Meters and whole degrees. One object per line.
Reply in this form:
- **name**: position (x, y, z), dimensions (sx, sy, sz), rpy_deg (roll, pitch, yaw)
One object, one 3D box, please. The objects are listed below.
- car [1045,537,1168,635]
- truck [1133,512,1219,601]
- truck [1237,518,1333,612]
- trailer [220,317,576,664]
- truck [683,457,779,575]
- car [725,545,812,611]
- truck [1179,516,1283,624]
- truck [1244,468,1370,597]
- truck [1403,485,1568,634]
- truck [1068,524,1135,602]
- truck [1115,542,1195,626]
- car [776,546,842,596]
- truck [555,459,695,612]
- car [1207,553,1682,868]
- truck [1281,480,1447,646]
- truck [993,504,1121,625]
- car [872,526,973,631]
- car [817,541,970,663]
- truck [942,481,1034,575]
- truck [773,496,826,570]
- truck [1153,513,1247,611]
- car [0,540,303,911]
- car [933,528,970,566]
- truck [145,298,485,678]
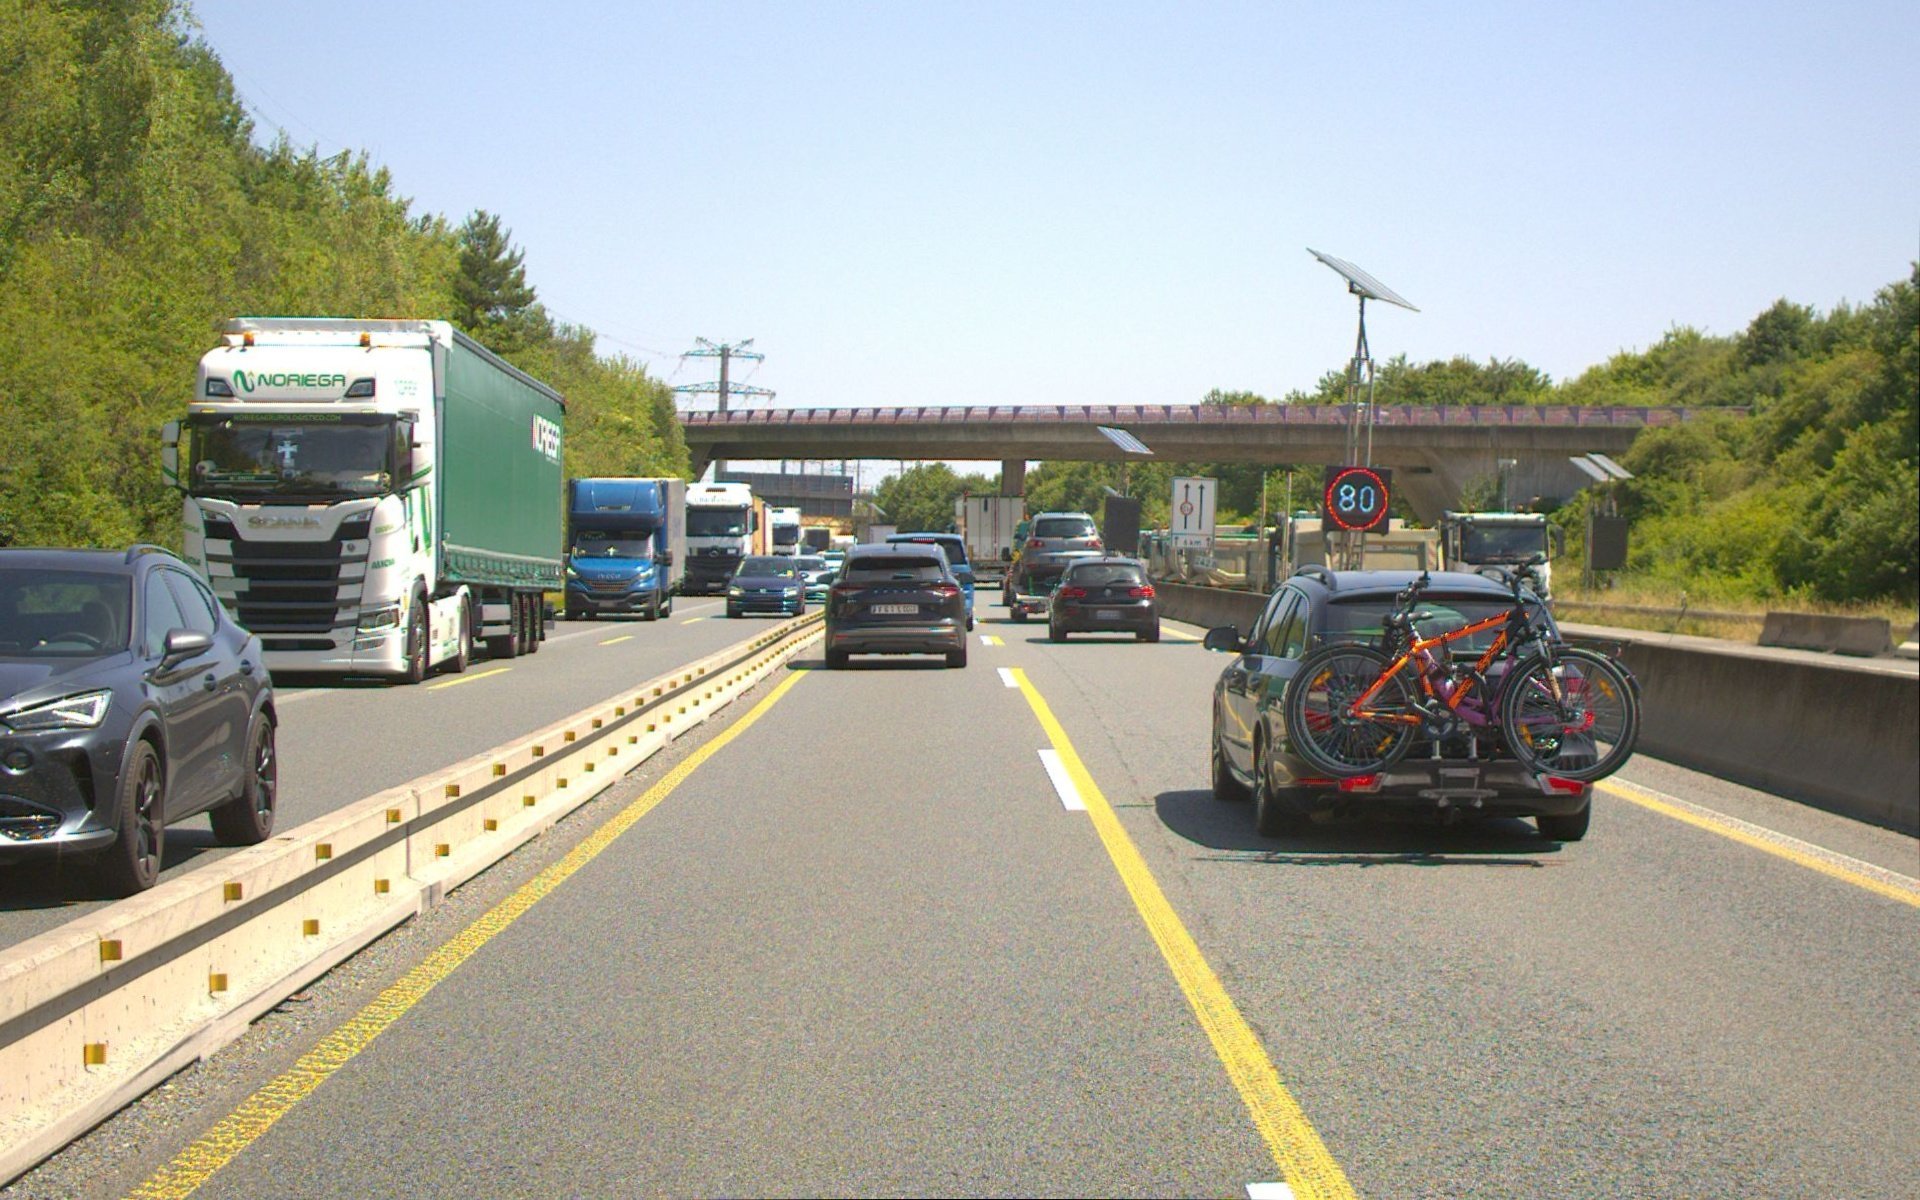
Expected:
- **car**: position (2.452, -0.254, 58.610), dimensions (1.899, 1.580, 4.276), rpy_deg (1, 1, 0)
- **truck**: position (8.858, -1.822, 141.971), dimensions (2.687, 3.545, 9.326), rpy_deg (1, 1, -2)
- **truck**: position (12.103, -1.349, 128.740), dimensions (2.687, 3.366, 9.603), rpy_deg (1, 1, 0)
- **trailer**: position (-7.458, -1.410, 47.720), dimensions (2.891, 4.111, 13.245), rpy_deg (1, 1, -1)
- **truck**: position (-8.207, -2.986, 124.054), dimensions (2.649, 3.978, 9.651), rpy_deg (2, 1, 0)
- **car**: position (-4.497, -0.526, 81.247), dimensions (1.761, 1.485, 4.402), rpy_deg (1, 0, 0)
- **truck**: position (9.277, -1.070, 118.597), dimensions (2.687, 3.545, 9.603), rpy_deg (1, 1, -1)
- **truck**: position (10.052, -1.955, 100.398), dimensions (2.538, 3.545, 9.603), rpy_deg (1, 1, -1)
- **truck**: position (12.989, -1.025, 85.642), dimensions (2.687, 3.499, 8.381), rpy_deg (1, 1, -1)
- **truck**: position (6.969, -1.850, 170.064), dimensions (2.687, 3.748, 9.326), rpy_deg (1, 1, -1)
- **truck**: position (8.542, -0.760, 151.606), dimensions (2.687, 3.545, 9.326), rpy_deg (1, 1, -2)
- **car**: position (-4.578, -0.880, 104.839), dimensions (1.841, 1.485, 4.511), rpy_deg (-1, 0, -1)
- **truck**: position (-7.586, -1.484, 78.630), dimensions (2.405, 3.318, 7.500), rpy_deg (1, 1, 0)
- **car**: position (2.495, 0.509, 18.920), dimensions (1.899, 1.485, 4.947), rpy_deg (1, 0, 0)
- **truck**: position (9.033, -0.862, 77.827), dimensions (2.533, 3.499, 9.097), rpy_deg (1, 1, -1)
- **truck**: position (2.100, -0.845, 77.075), dimensions (2.405, 2.549, 7.501), rpy_deg (1, 1, -2)
- **car**: position (-0.709, -0.430, 67.182), dimensions (1.899, 1.962, 4.276), rpy_deg (1, 1, 0)
- **car**: position (-0.831, 0.000, 45.148), dimensions (1.899, 1.500, 4.276), rpy_deg (1, 1, 0)
- **truck**: position (1.135, -3.021, 146.195), dimensions (3.292, 3.832, 10.111), rpy_deg (0, 1, -3)
- **truck**: position (-8.939, -3.742, 192.716), dimensions (2.410, 3.978, 10.353), rpy_deg (1, 1, 0)
- **truck**: position (9.024, -1.460, 130.068), dimensions (2.687, 3.545, 9.407), rpy_deg (1, 1, -1)
- **car**: position (-4.396, 0.474, 16.062), dimensions (1.899, 1.500, 4.276), rpy_deg (1, 1, -1)
- **car**: position (-0.431, -2.778, 180.761), dimensions (1.899, 1.962, 4.276), rpy_deg (1, 1, 0)
- **truck**: position (-7.375, -1.258, 40.132), dimensions (2.894, 4.104, 6.021), rpy_deg (0, 1, -1)
